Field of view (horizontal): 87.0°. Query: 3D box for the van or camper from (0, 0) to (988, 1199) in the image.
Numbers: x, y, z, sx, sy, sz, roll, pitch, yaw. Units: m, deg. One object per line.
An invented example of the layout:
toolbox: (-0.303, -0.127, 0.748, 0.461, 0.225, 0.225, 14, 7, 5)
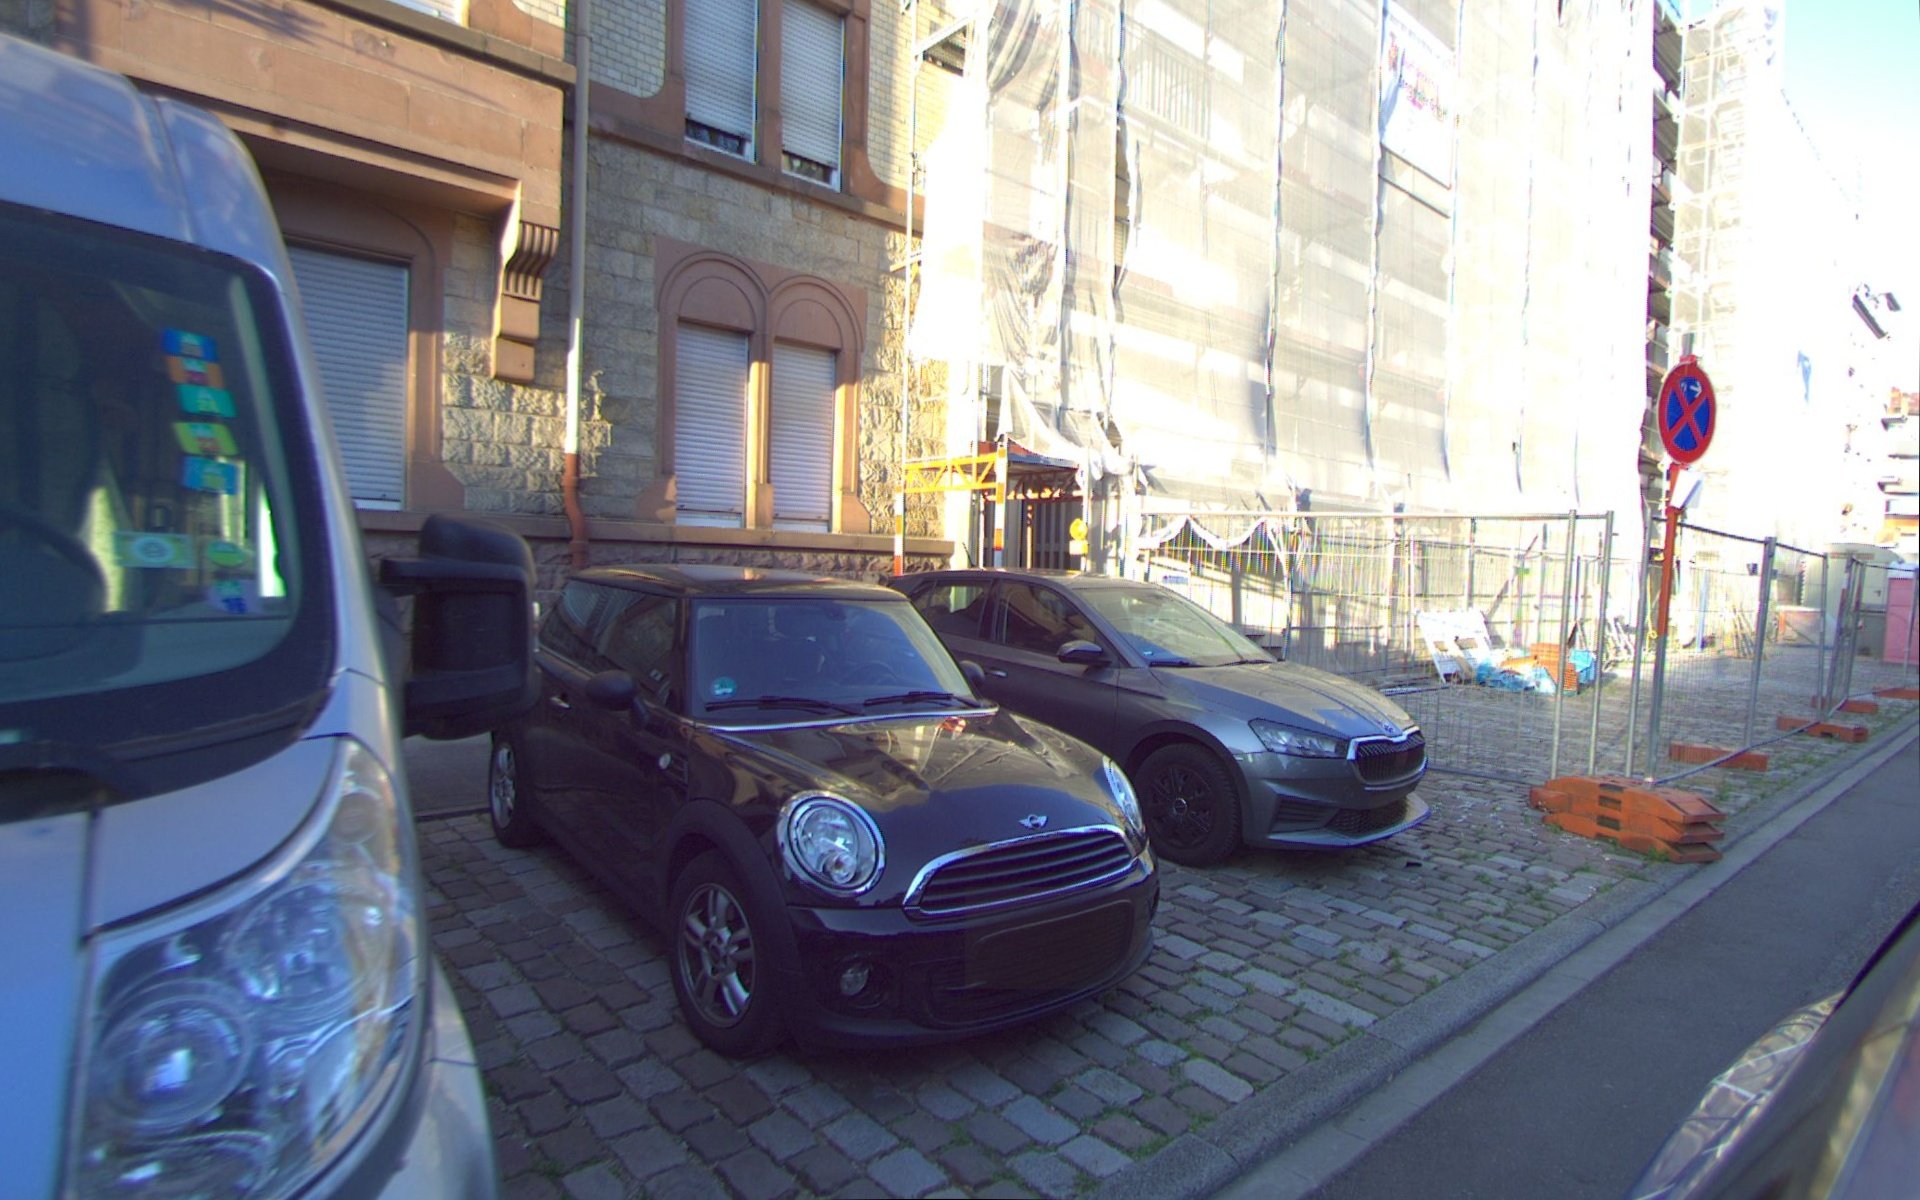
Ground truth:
van or camper: (-2.699, -0.362, 2.366, 2.073, 2.804, 5.938, 0, 1, -41)

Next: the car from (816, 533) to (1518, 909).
car: (1.086, 0.436, 6.578, 1.987, 1.533, 3.992, 0, 5, -45)

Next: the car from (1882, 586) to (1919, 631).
car: (37.419, 0.375, 37.809, 1.838, 1.635, 4.164, 0, 2, -39)

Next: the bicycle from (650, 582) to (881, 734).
bicycle: (-1.643, 0.448, 8.873, 0.630, 1.183, 2.003, 1, 1, 43)

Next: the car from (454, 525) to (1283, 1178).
car: (-0.820, 0.474, 4.497, 1.755, 1.503, 3.946, -2, 5, -39)
